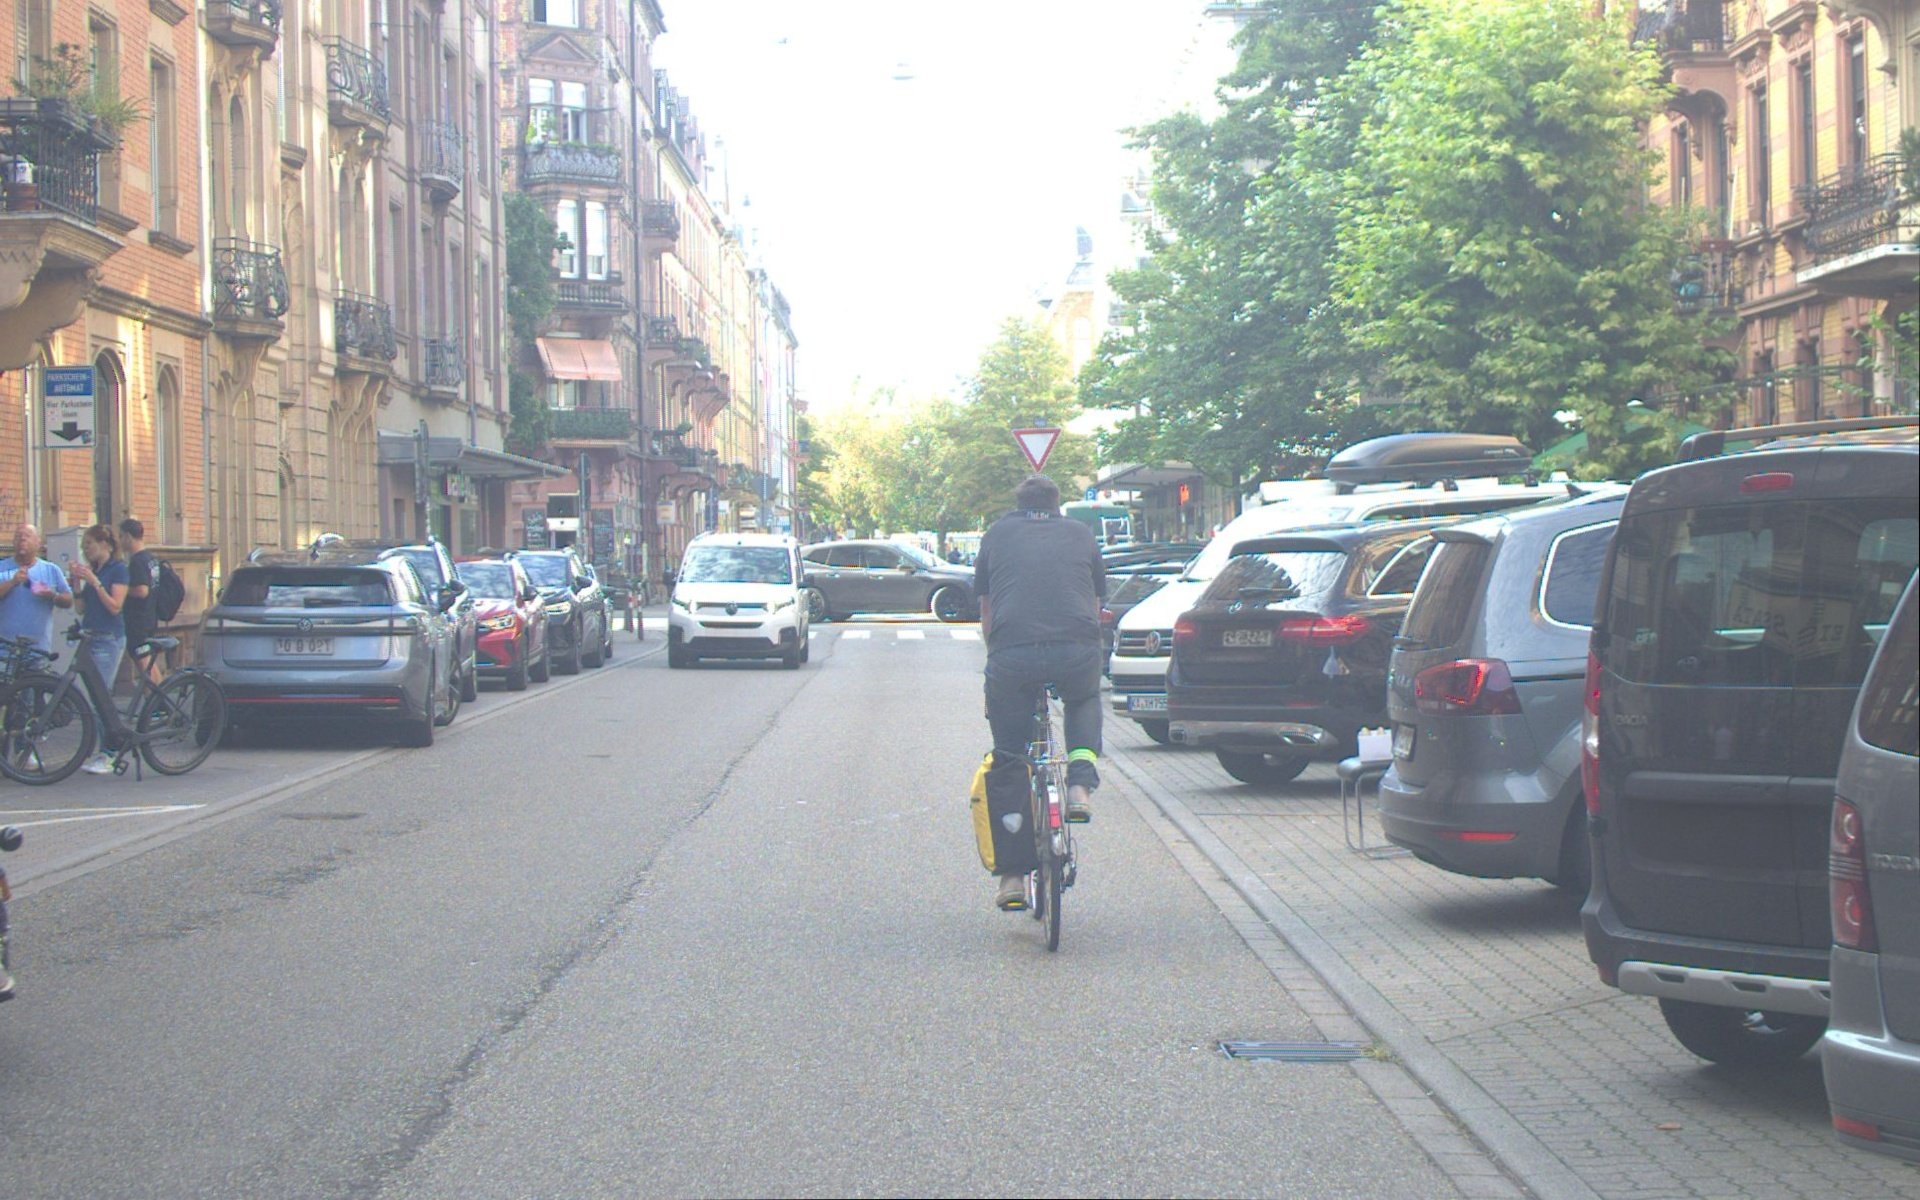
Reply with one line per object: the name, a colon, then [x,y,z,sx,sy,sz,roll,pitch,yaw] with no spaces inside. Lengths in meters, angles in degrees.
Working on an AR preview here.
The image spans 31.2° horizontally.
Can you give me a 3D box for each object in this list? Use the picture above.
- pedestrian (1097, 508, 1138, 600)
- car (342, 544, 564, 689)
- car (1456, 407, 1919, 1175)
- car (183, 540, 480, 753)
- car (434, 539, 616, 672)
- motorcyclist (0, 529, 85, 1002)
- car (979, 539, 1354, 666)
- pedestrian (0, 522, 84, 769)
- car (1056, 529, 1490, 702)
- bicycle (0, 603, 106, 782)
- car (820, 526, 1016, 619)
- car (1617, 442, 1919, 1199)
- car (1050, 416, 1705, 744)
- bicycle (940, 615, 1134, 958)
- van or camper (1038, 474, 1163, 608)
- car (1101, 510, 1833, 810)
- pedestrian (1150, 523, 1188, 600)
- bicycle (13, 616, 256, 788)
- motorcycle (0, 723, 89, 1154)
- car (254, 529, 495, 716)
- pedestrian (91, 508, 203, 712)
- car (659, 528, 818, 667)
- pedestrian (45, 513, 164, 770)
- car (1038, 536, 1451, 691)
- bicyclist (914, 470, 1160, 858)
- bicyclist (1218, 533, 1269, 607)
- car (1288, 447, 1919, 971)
pedestrian: [2.984,-0.870,65.160,0.629,1.733,0.775,-1,1,12]
car: [-5.761,0.156,39.558,1.993,1.539,4.427,-1,0,-1]
car: [3.732,0.360,9.898,4.390,1.816,1.755,-3,1,-32]
car: [-5.035,0.312,28.168,1.825,1.573,5.264,0,1,-4]
car: [-5.632,0.048,45.031,1.790,1.623,4.847,-1,0,-1]
motorcyclist: [-2.961,0.426,9.369,1.013,1.241,0.803,0,1,-6]
car: [2.864,-0.005,47.480,4.753,1.452,2.057,-4,3,-28]
pedestrian: [-6.370,0.298,23.343,0.679,1.655,0.551,0,1,-30]
car: [3.337,0.123,36.156,4.456,1.472,1.889,-5,3,-40]
bicycle: [-6.118,0.577,22.137,0.493,1.091,1.904,1,0,8]
car: [-0.886,-0.574,71.059,3.986,1.875,2.000,0,1,-1]
car: [3.555,0.495,7.306,3.987,1.735,1.840,-3,1,-31]
car: [3.415,-0.219,27.623,5.144,2.397,1.918,-2,1,-33]
bicycle: [0.266,0.668,13.469,0.665,1.174,2.497,0,1,-1]
van or camper: [3.298,-1.397,81.513,2.531,3.027,4.459,-1,1,-3]
car: [3.264,0.300,21.819,4.444,1.726,2.000,-1,1,-35]
pedestrian: [5.096,-0.947,83.838,0.869,1.845,0.612,-1,1,5]
bicycle: [-5.365,0.643,22.460,0.482,1.055,1.902,1,0,23]
motorcycle: [-2.873,0.889,9.116,0.793,0.992,2.500,0,1,-7]
car: [-5.673,0.157,33.821,1.872,1.675,4.895,0,1,-4]
pedestrian: [-7.334,0.082,31.044,0.756,1.802,0.863,1,1,3]
car: [-3.026,-0.063,47.772,1.917,1.822,4.438,0,1,0]
pedestrian: [-5.777,0.272,23.215,0.564,1.703,0.667,0,1,-35]
car: [3.264,0.112,39.060,4.455,1.459,1.879,-4,3,-35]
bicyclist: [0.292,0.242,13.541,0.933,1.479,0.747,0,1,-1]
bicyclist: [6.465,-0.688,78.376,0.787,1.660,0.857,0,1,-33]
car: [3.773,0.307,13.670,4.636,1.778,1.810,-3,3,-1]
